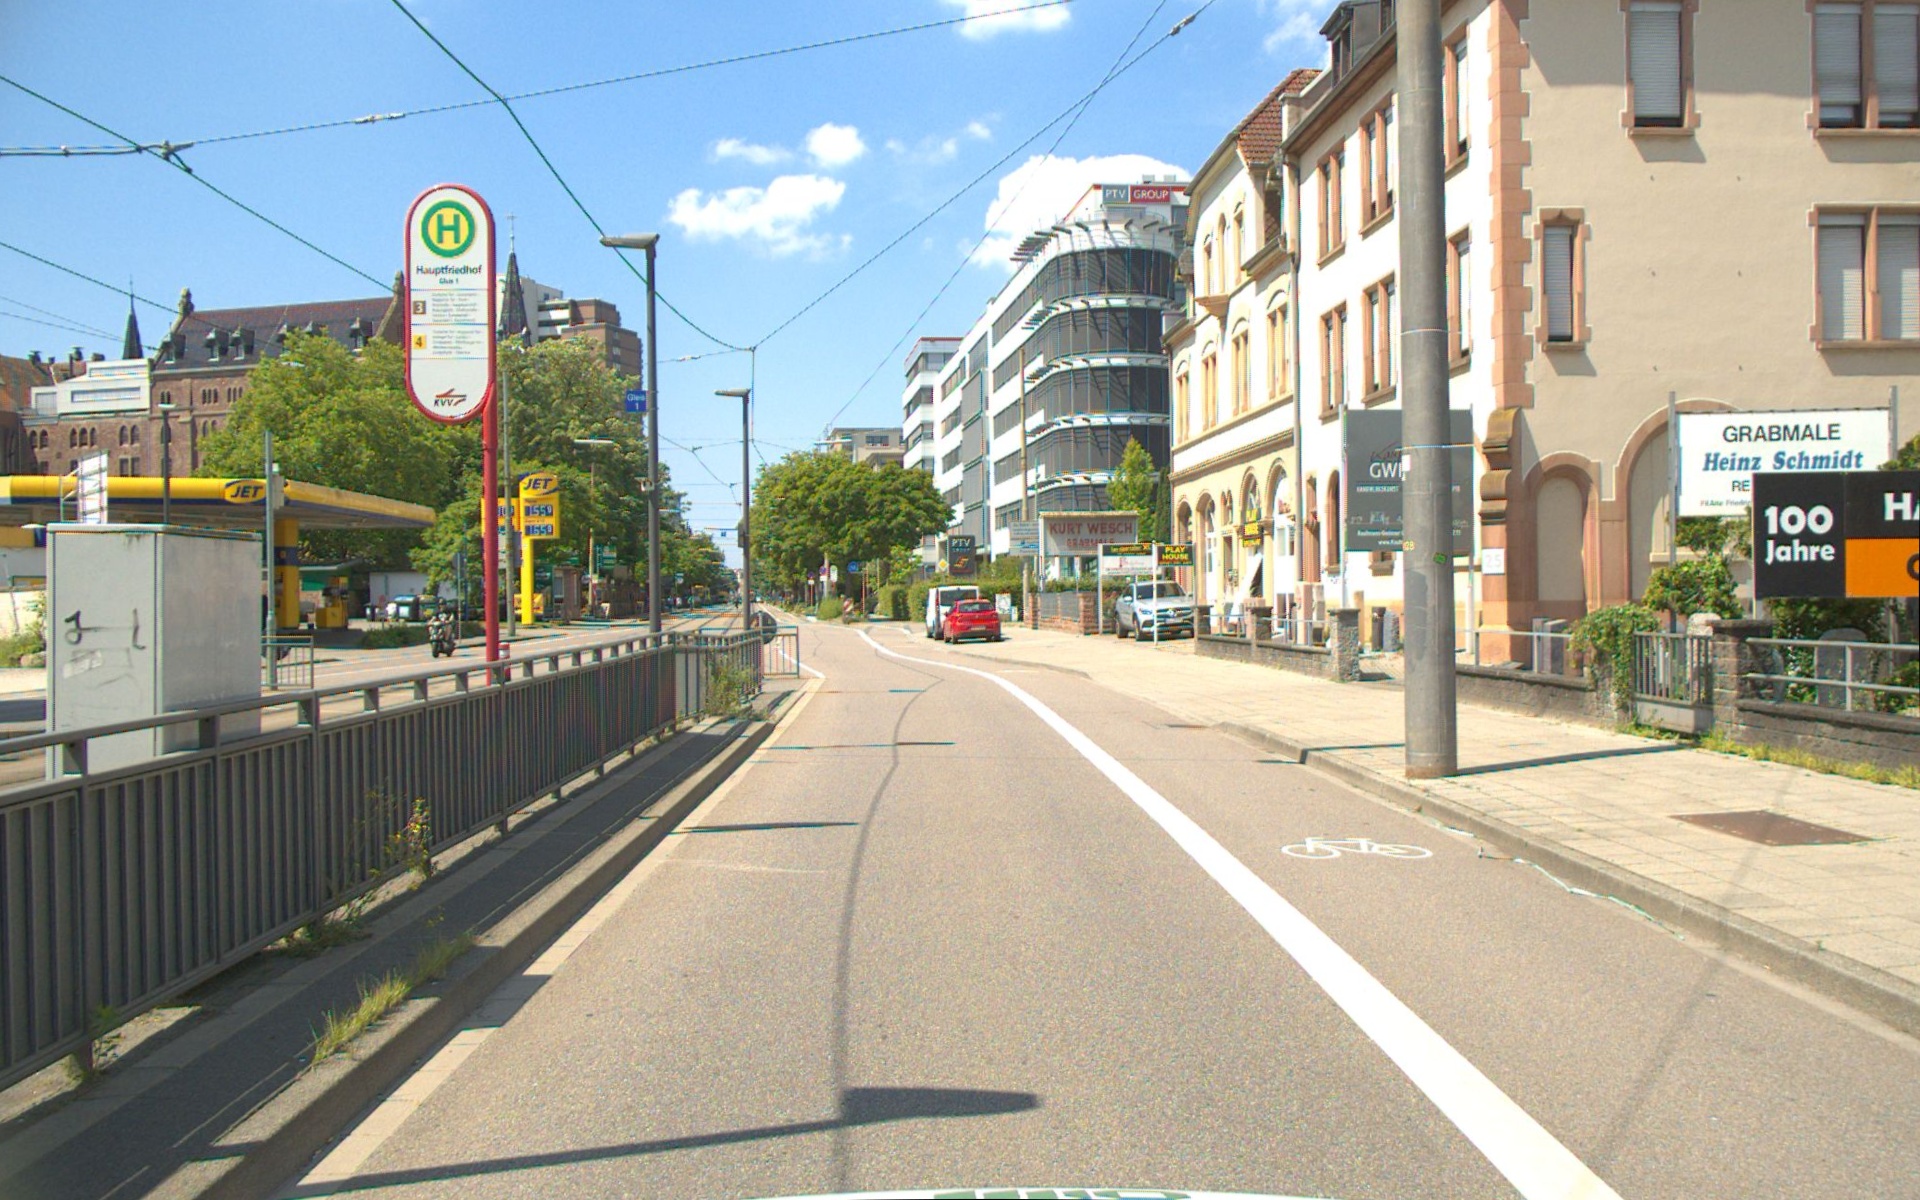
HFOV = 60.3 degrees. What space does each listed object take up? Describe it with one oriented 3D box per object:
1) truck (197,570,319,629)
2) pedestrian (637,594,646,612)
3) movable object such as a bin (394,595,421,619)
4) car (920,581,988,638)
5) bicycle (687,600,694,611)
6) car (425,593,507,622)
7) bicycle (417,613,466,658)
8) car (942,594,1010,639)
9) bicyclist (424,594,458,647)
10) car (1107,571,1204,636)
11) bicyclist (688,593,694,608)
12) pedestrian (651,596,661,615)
[{"bbox_3d":[-31.692,-0.013,74.860,1.953,2.542,5.202,-1,0,23],"label":"truck"},{"bbox_3d":[-30.934,0.316,160.620,0.729,1.758,0.866,0,0,-8],"label":"pedestrian"},{"bbox_3d":[-32.236,0.417,96.482,1.316,1.378,0.759,-1,0,5],"label":"movable object such as a bin"},{"bbox_3d":[-0.289,0.320,64.095,1.956,2.026,5.506,-3,1,-7],"label":"car"},{"bbox_3d":[-30.840,0.629,189.431,0.688,1.224,2.237,-3,1,-8],"label":"bicycle"},{"bbox_3d":[-28.994,0.448,97.091,1.960,1.618,4.316,-1,0,37],"label":"car"},{"bbox_3d":[-15.240,1.034,48.670,0.800,1.244,2.387,-1,0,-4],"label":"bicycle"},{"bbox_3d":[0.530,0.555,57.408,1.955,1.467,4.012,-1,0,-5],"label":"car"},{"bbox_3d":[-15.283,0.582,48.706,0.743,1.530,1.064,-1,0,-6],"label":"bicyclist"},{"bbox_3d":[5.574,0.090,47.651,1.841,1.652,4.635,-4,0,-4],"label":"car"},{"bbox_3d":[-30.825,0.073,189.211,0.630,1.709,0.813,-1,0,-8],"label":"bicyclist"},{"bbox_3d":[-27.731,0.500,150.815,0.799,1.801,0.923,0,0,-8],"label":"pedestrian"}]
